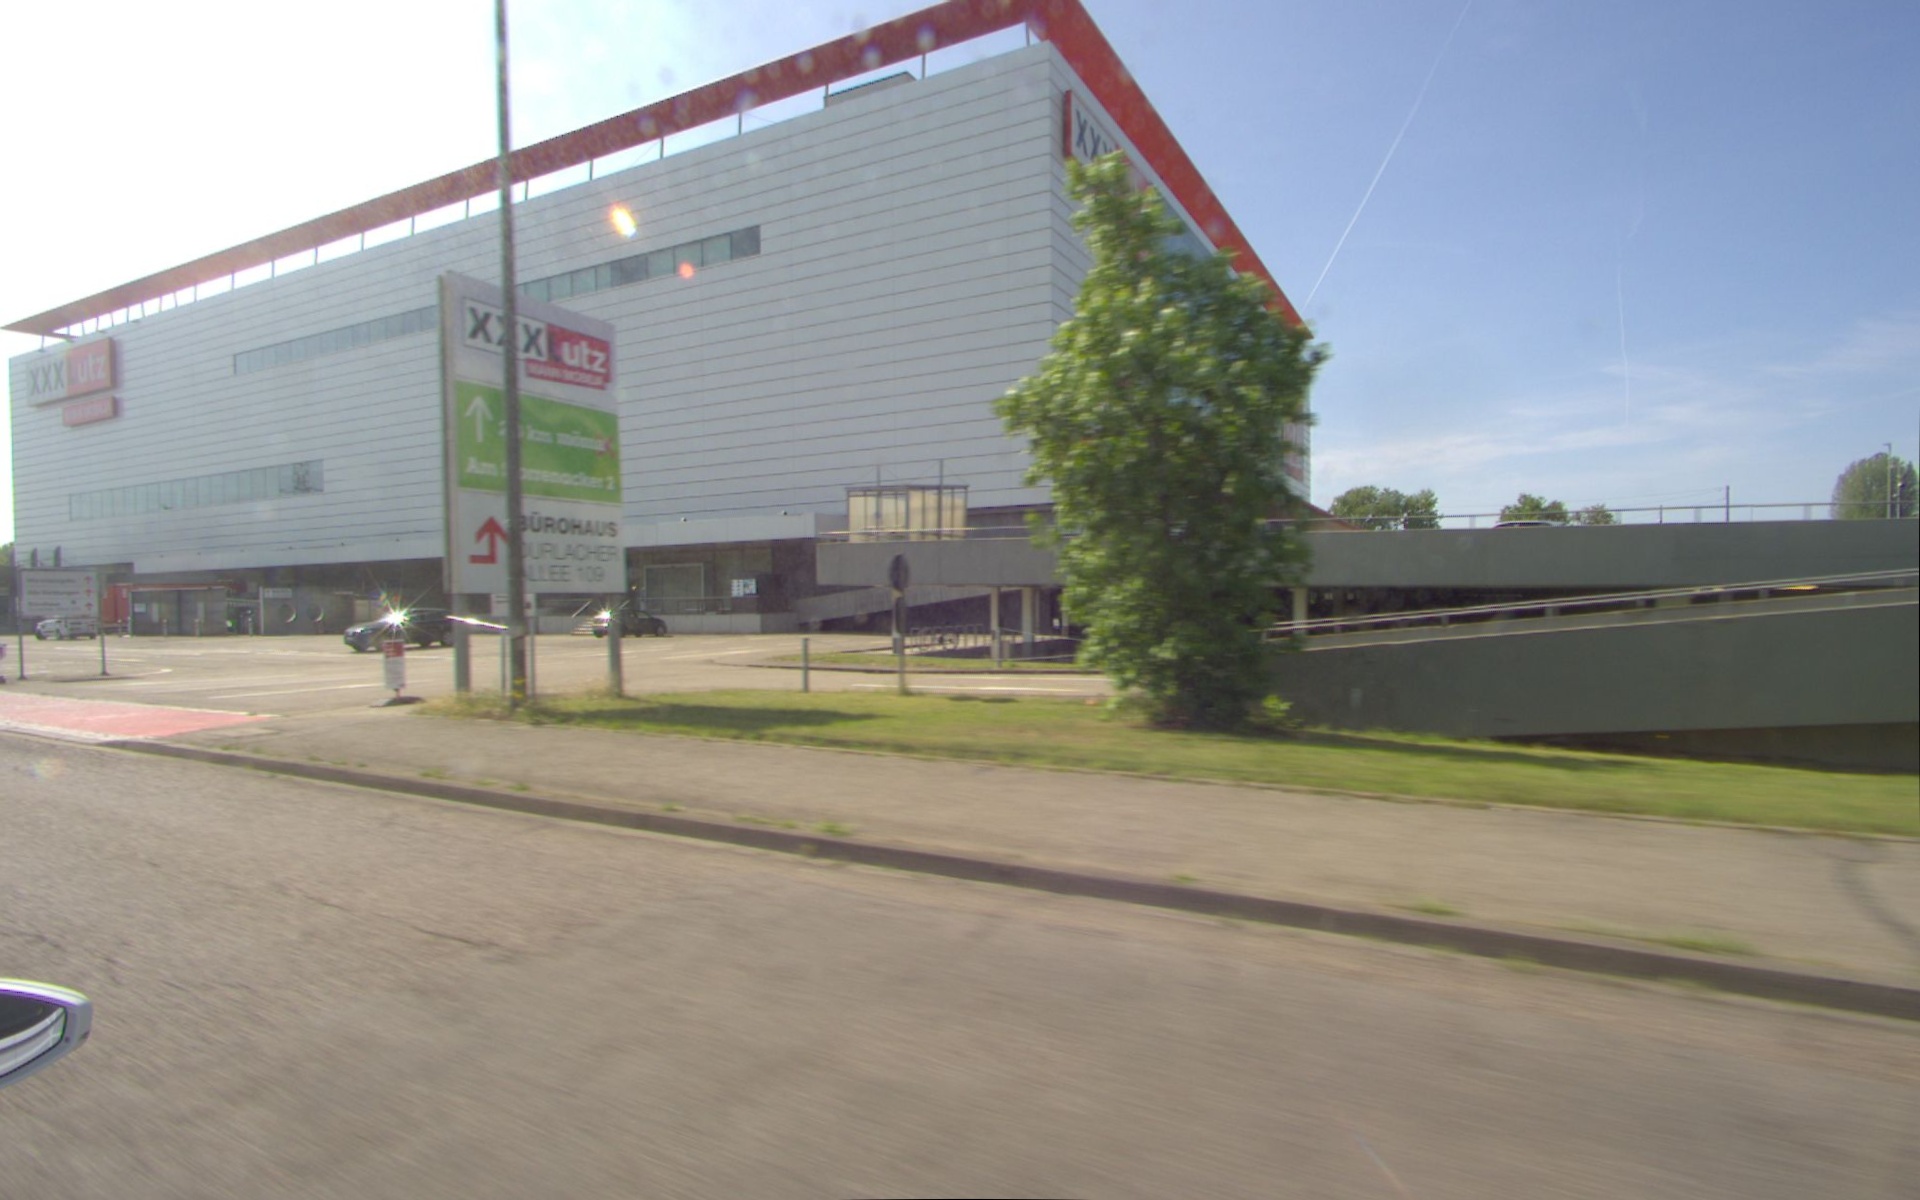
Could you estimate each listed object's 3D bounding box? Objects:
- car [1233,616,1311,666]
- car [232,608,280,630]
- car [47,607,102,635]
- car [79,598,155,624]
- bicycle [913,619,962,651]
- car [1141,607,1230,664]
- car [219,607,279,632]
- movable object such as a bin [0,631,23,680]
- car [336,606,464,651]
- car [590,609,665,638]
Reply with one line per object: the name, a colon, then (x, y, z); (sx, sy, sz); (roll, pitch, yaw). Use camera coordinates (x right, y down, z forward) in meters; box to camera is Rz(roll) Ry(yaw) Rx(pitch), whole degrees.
car: (9.559, 1.211, 30.529); (1.662, 1.405, 3.871); (0, -1, 27)
car: (-47.547, 1.262, 67.615); (3.206, 1.487, 1.508); (0, 0, 31)
car: (-59.881, 1.396, 67.679); (4.033, 1.775, 1.670); (0, 0, 31)
car: (-65.621, 0.841, 77.983); (1.750, 1.954, 4.182); (0, 0, 30)
bicycle: (-0.785, 1.192, 34.595); (1.683, 1.074, 0.510); (0, 0, 31)
car: (7.049, 1.075, 31.037); (1.724, 1.648, 4.150); (0, -1, 27)
car: (-45.217, 1.219, 63.706); (4.033, 1.529, 1.670); (0, 0, 31)
movable object such as a bin: (-22.921, 1.305, 23.712); (1.165, 1.128, 0.808); (0, 0, 32)
car: (-23.395, 1.137, 42.009); (1.808, 1.636, 4.418); (0, 2, 27)
car: (-16.652, 1.163, 50.300); (1.578, 1.394, 3.515); (0, -1, 27)
